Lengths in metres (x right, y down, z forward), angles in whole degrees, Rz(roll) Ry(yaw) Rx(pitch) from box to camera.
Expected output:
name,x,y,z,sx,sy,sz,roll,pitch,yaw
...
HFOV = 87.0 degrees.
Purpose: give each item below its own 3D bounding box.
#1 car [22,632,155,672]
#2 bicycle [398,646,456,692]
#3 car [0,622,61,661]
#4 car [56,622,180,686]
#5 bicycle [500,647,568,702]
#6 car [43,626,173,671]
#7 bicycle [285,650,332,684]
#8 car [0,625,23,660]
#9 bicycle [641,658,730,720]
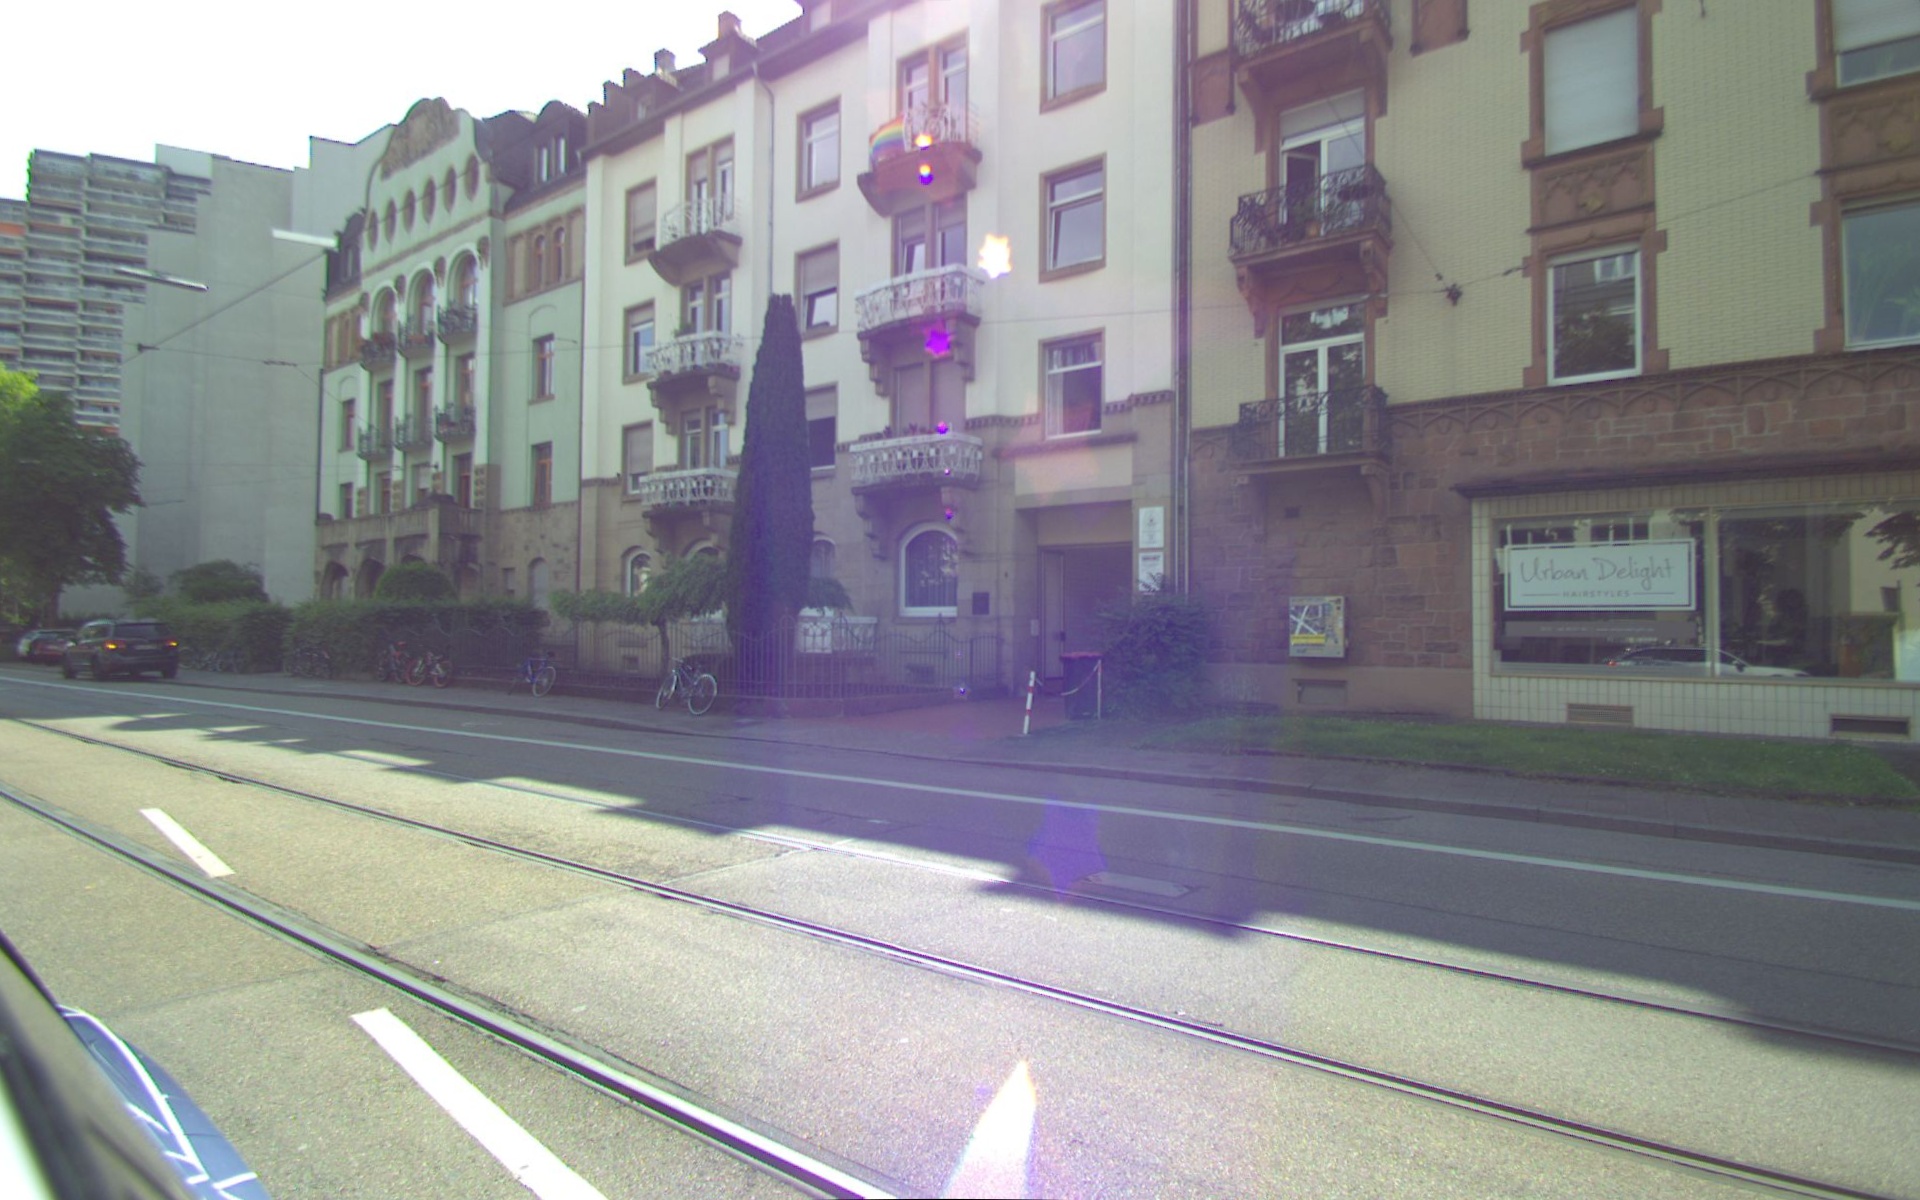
name,x,y,z,sx,sy,sz,roll,pitch,yaw
car,-35.387,2.085,41.186,1.633,1.548,3.841,-1,-3,39
bicycle,-12.492,1.599,23.703,1.872,0.993,0.579,0,-2,42
car,-48.241,2.088,51.105,1.829,1.940,3.947,-1,-3,39
car,-24.467,1.534,29.359,4.324,1.724,1.775,-1,-3,37
bicycle,-8.875,1.530,21.038,1.872,1.037,0.532,0,-2,42
car,-33.093,1.866,39.377,1.608,1.652,3.587,-1,-2,37
bicycle,-17.529,1.794,27.220,1.872,0.803,0.579,0,0,42
car,-51.285,2.198,52.525,1.733,1.857,3.619,-1,-3,37
bicycle,-4.847,1.538,17.783,2.068,0.913,0.517,1,-1,45
